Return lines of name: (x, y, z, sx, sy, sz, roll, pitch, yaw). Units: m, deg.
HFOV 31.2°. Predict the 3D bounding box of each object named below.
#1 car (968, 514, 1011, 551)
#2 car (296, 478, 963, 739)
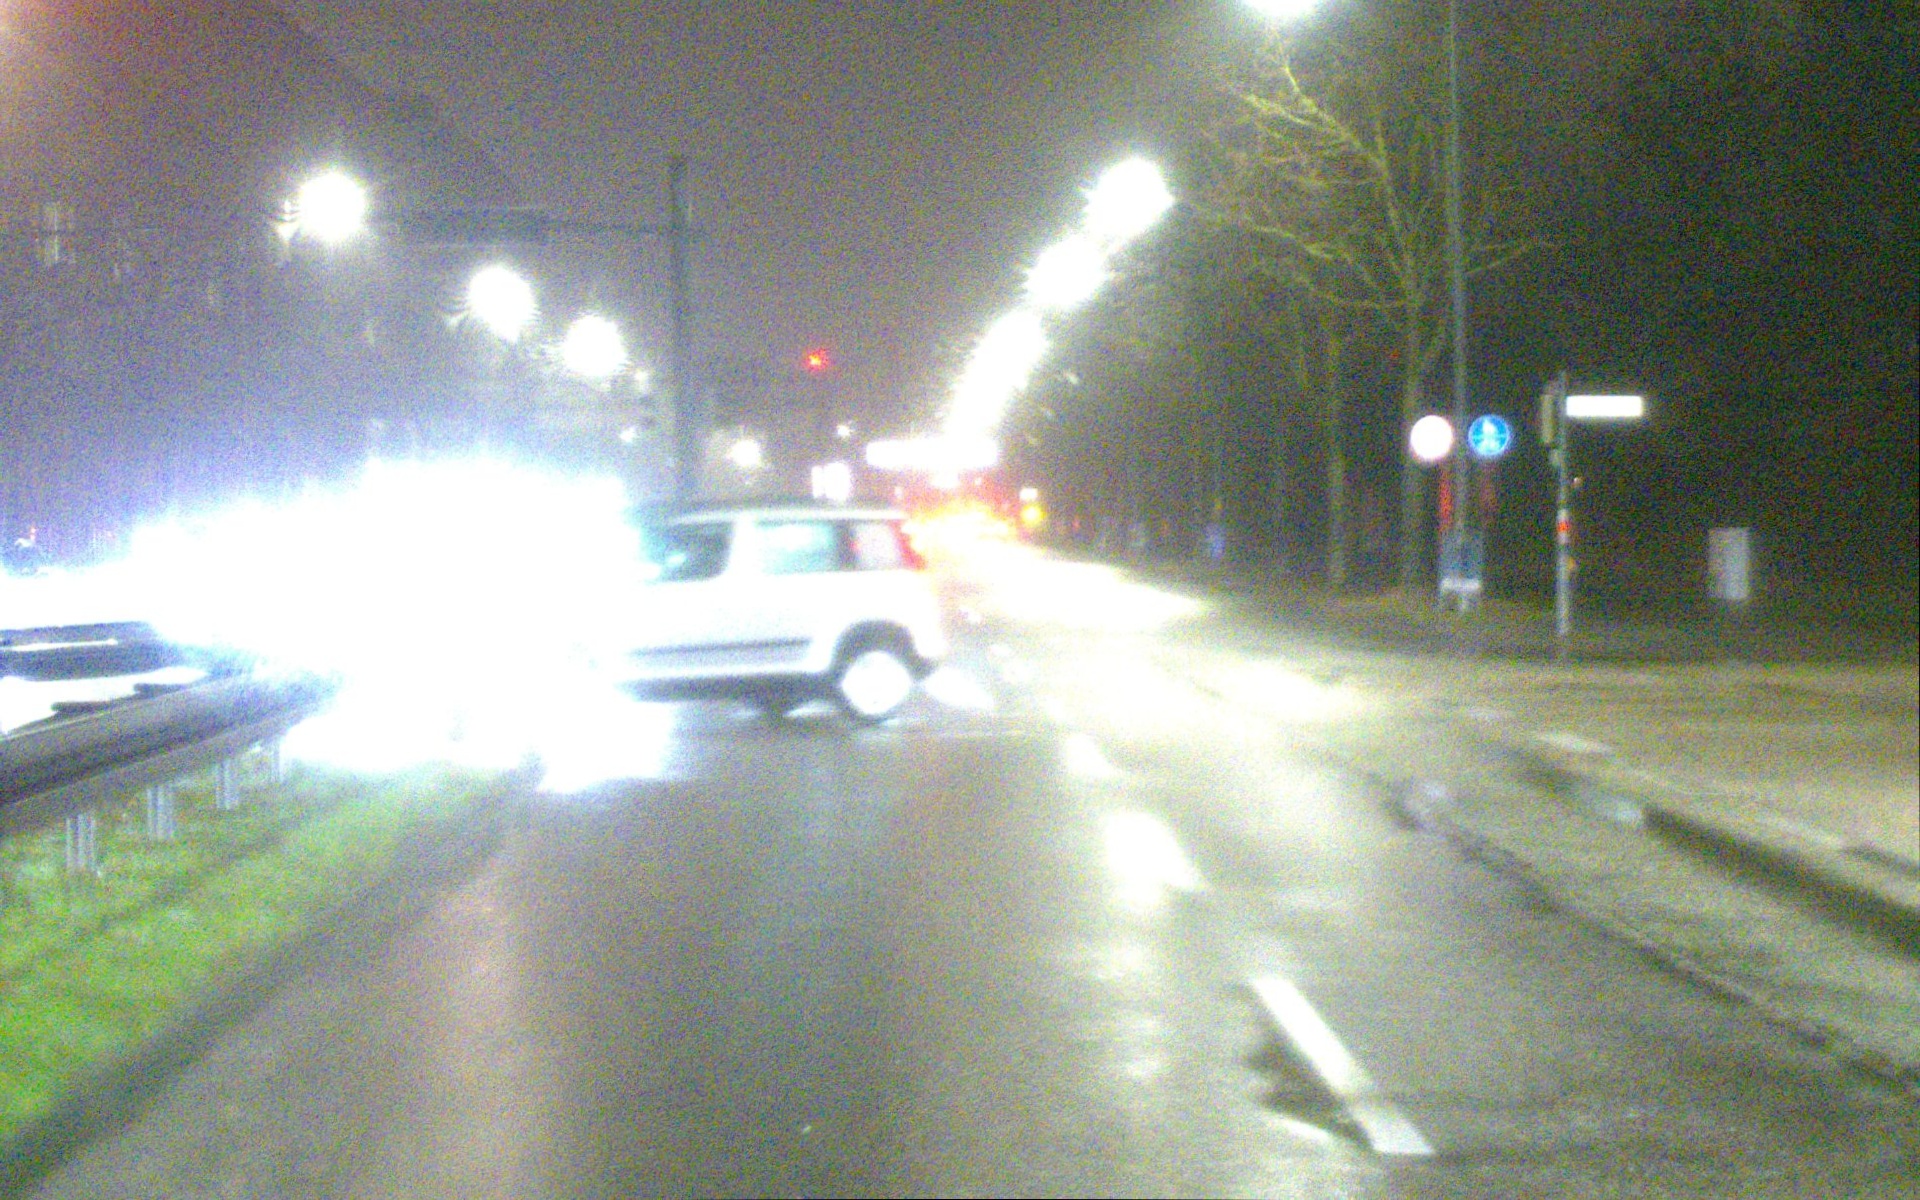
car: (1.427, -3.274, 167.704, 1.993, 1.753, 4.000, 1, 1, -1)
car: (-2.353, 0.036, 24.776, 4.383, 1.735, 1.910, 0, 1, -30)
